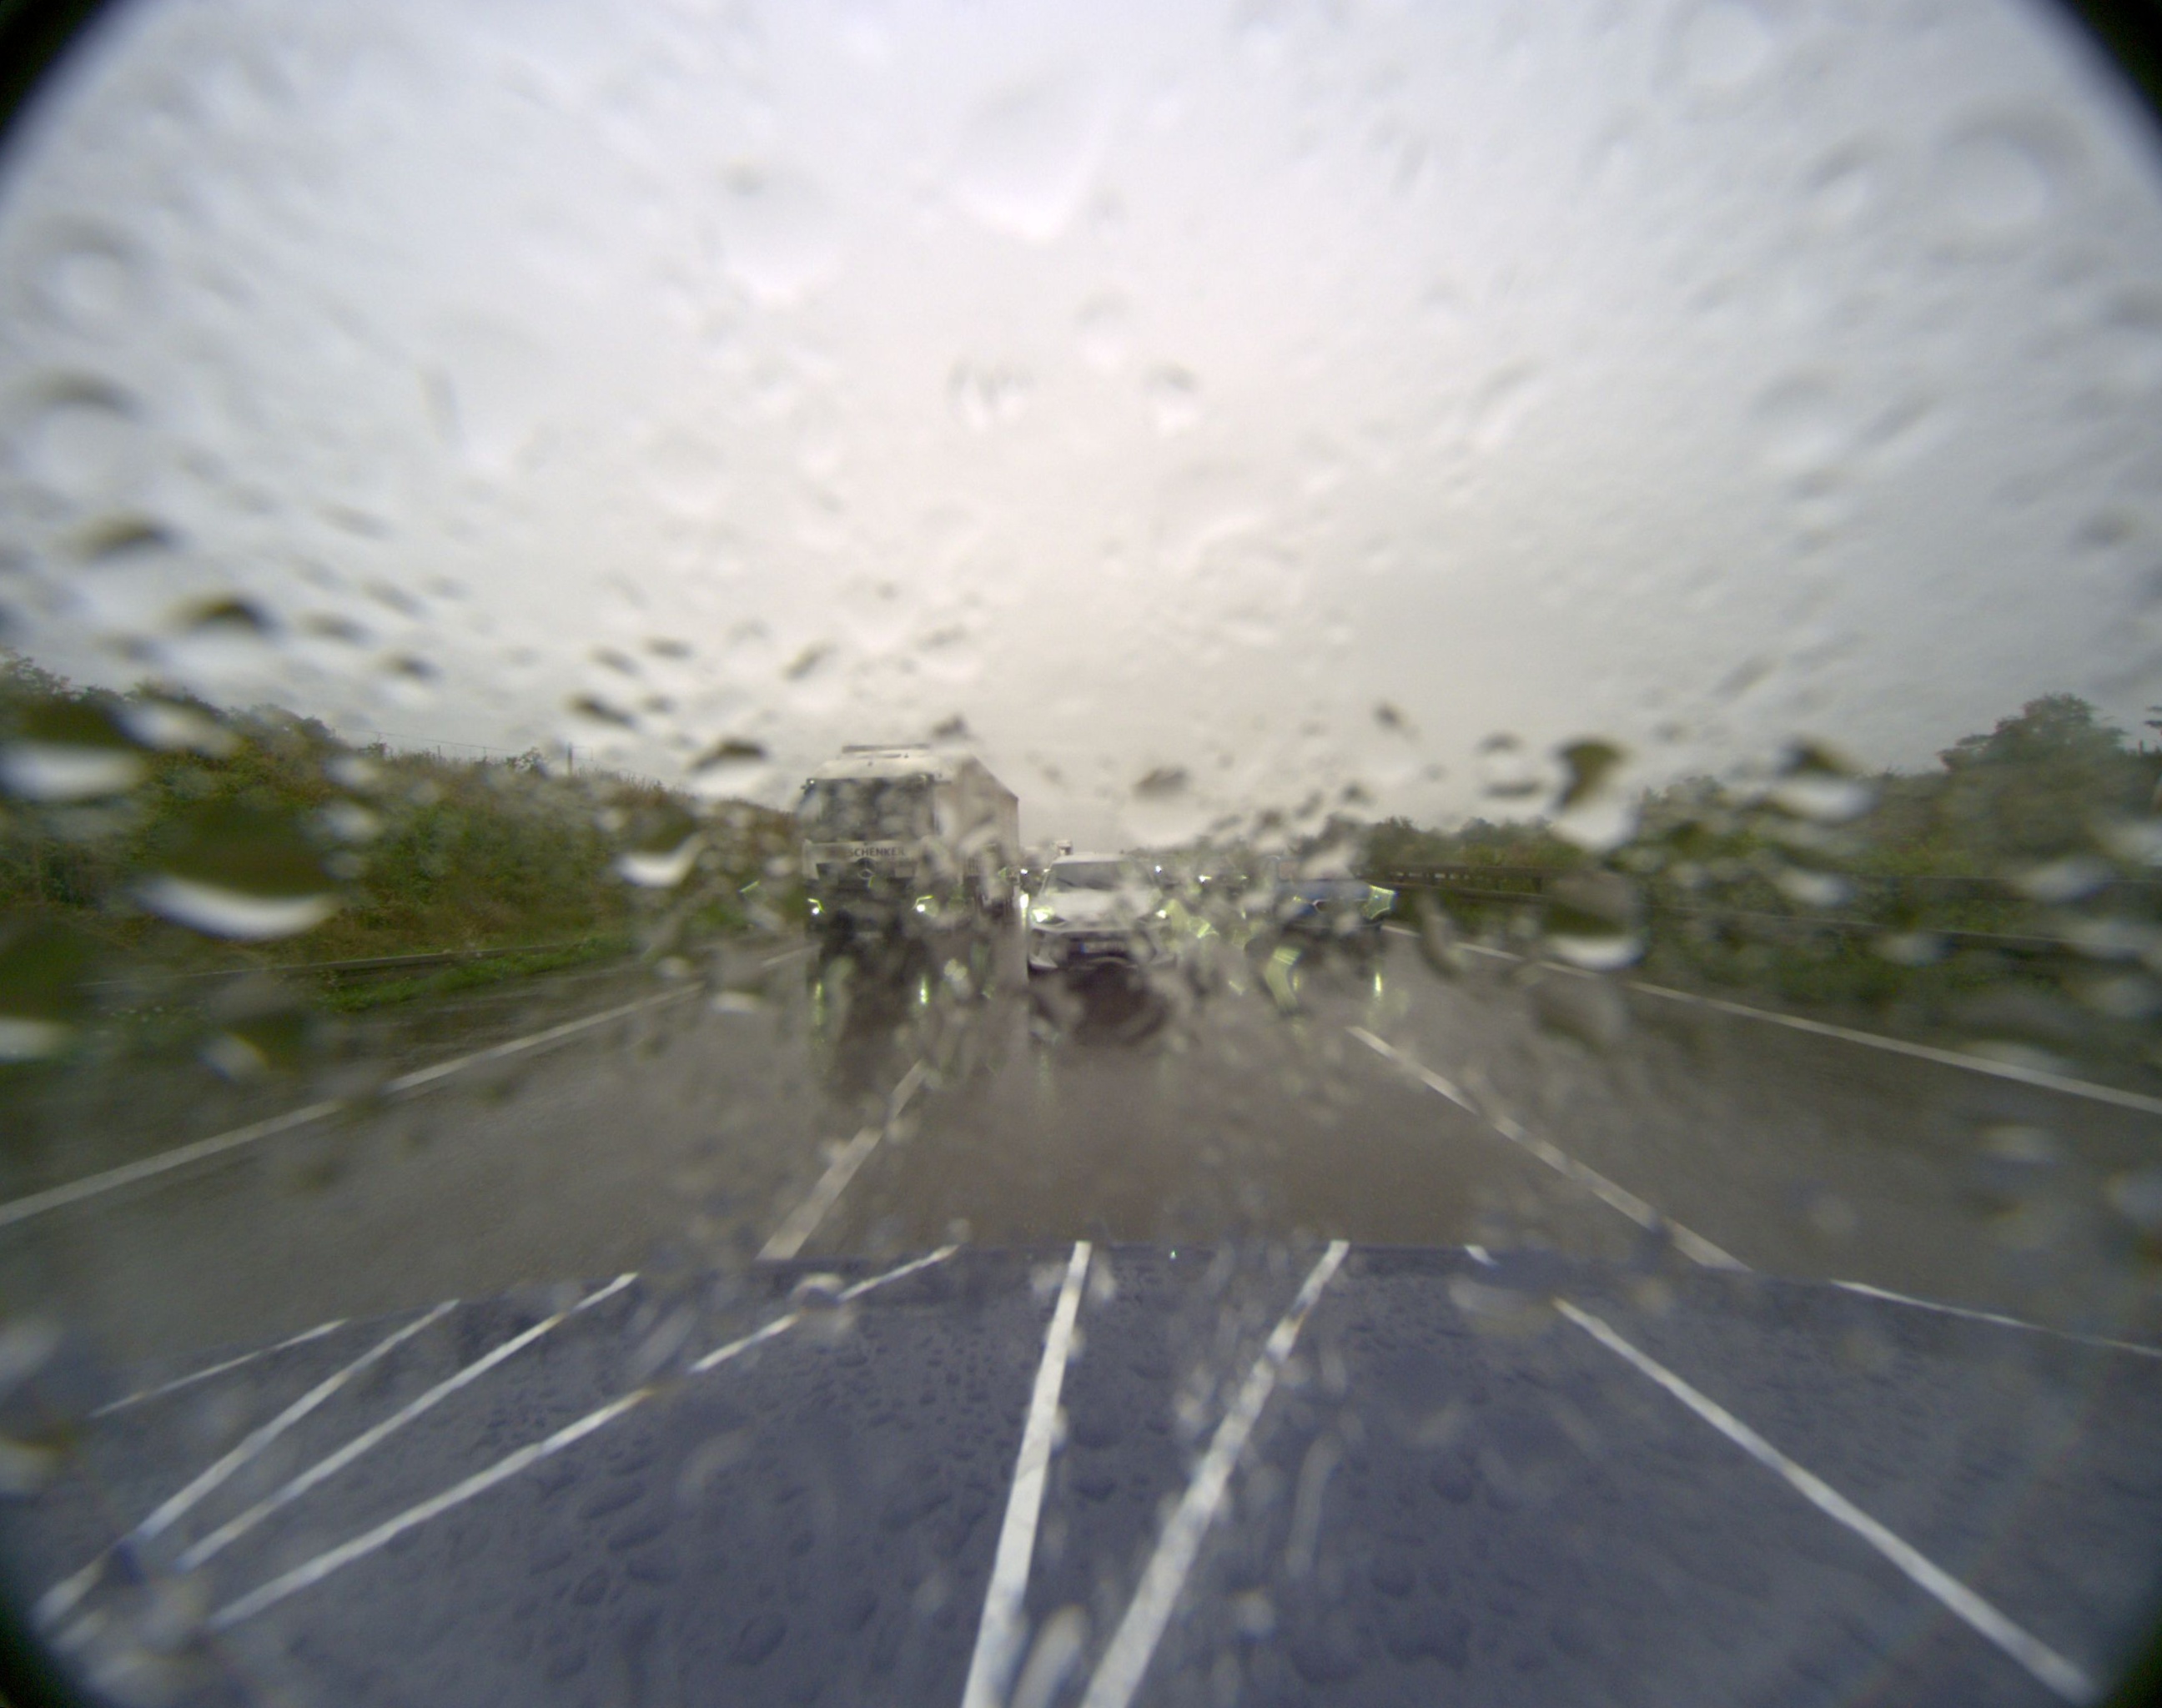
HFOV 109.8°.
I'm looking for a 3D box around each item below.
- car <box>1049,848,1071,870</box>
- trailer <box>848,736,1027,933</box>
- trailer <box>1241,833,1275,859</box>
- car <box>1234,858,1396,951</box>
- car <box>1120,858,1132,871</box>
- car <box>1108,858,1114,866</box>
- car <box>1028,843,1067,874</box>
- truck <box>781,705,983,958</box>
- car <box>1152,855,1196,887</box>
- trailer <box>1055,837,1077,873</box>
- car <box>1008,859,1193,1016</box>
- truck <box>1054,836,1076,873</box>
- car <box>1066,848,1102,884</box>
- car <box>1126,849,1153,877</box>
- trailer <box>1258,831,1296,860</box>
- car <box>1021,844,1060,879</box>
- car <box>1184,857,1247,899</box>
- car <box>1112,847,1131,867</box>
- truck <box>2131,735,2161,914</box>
[{"bbox_3d":[-2.151,0.514,78.876,1.998,2.231,4.000,-2,0,1],"label":"car"},{"bbox_3d":[-3.645,-0.479,23.744,2.633,4.224,14.175,-2,1,1],"label":"trailer"},{"bbox_3d":[22.100,-0.961,95.161,1.998,3.064,9.554,-2,0,0],"label":"trailer"},{"bbox_3d":[4.340,0.855,14.857,1.790,1.467,4.512,-2,0,1],"label":"car"},{"bbox_3d":[5.754,1.345,97.489,1.458,1.540,2.804,0,2,1],"label":"car"},{"bbox_3d":[6.457,1.667,162.912,1.279,1.567,2.848,-2,0,0],"label":"car"},{"bbox_3d":[-2.288,0.290,53.625,2.260,2.002,4.270,-2,1,4],"label":"car"},{"bbox_3d":[-3.715,-0.404,15.507,2.633,4.229,5.042,-2,1,0],"label":"truck"},{"bbox_3d":[5.105,0.896,42.231,1.889,1.622,4.269,-2,0,0],"label":"car"},{"bbox_3d":[-1.958,0.114,104.012,2.628,4.635,9.221,-2,0,1],"label":"trailer"},{"bbox_3d":[0.221,0.892,9.949,1.893,1.578,4.000,-2,0,1],"label":"car"},{"bbox_3d":[-2.038,0.078,99.154,2.628,4.635,4.290,-2,0,1],"label":"truck"},{"bbox_3d":[0.213,0.675,45.622,1.998,2.002,4.000,-2,0,2],"label":"car"},{"bbox_3d":[4.307,0.630,56.685,1.888,2.002,4.270,-2,0,4],"label":"car"},{"bbox_3d":[22.026,-0.953,85.920,1.998,3.064,8.871,-2,0,0],"label":"trailer"},{"bbox_3d":[-2.458,0.440,47.188,1.946,2.002,4.446,-2,1,3],"label":"car"},{"bbox_3d":[4.975,0.837,28.683,1.613,1.428,4.370,-2,0,1],"label":"car"},{"bbox_3d":[4.234,0.291,79.936,1.737,2.002,4.223,-2,0,1],"label":"car"},{"bbox_3d":[21.053,-0.493,11.667,2.548,3.261,5.197,0,1,0],"label":"truck"}]
